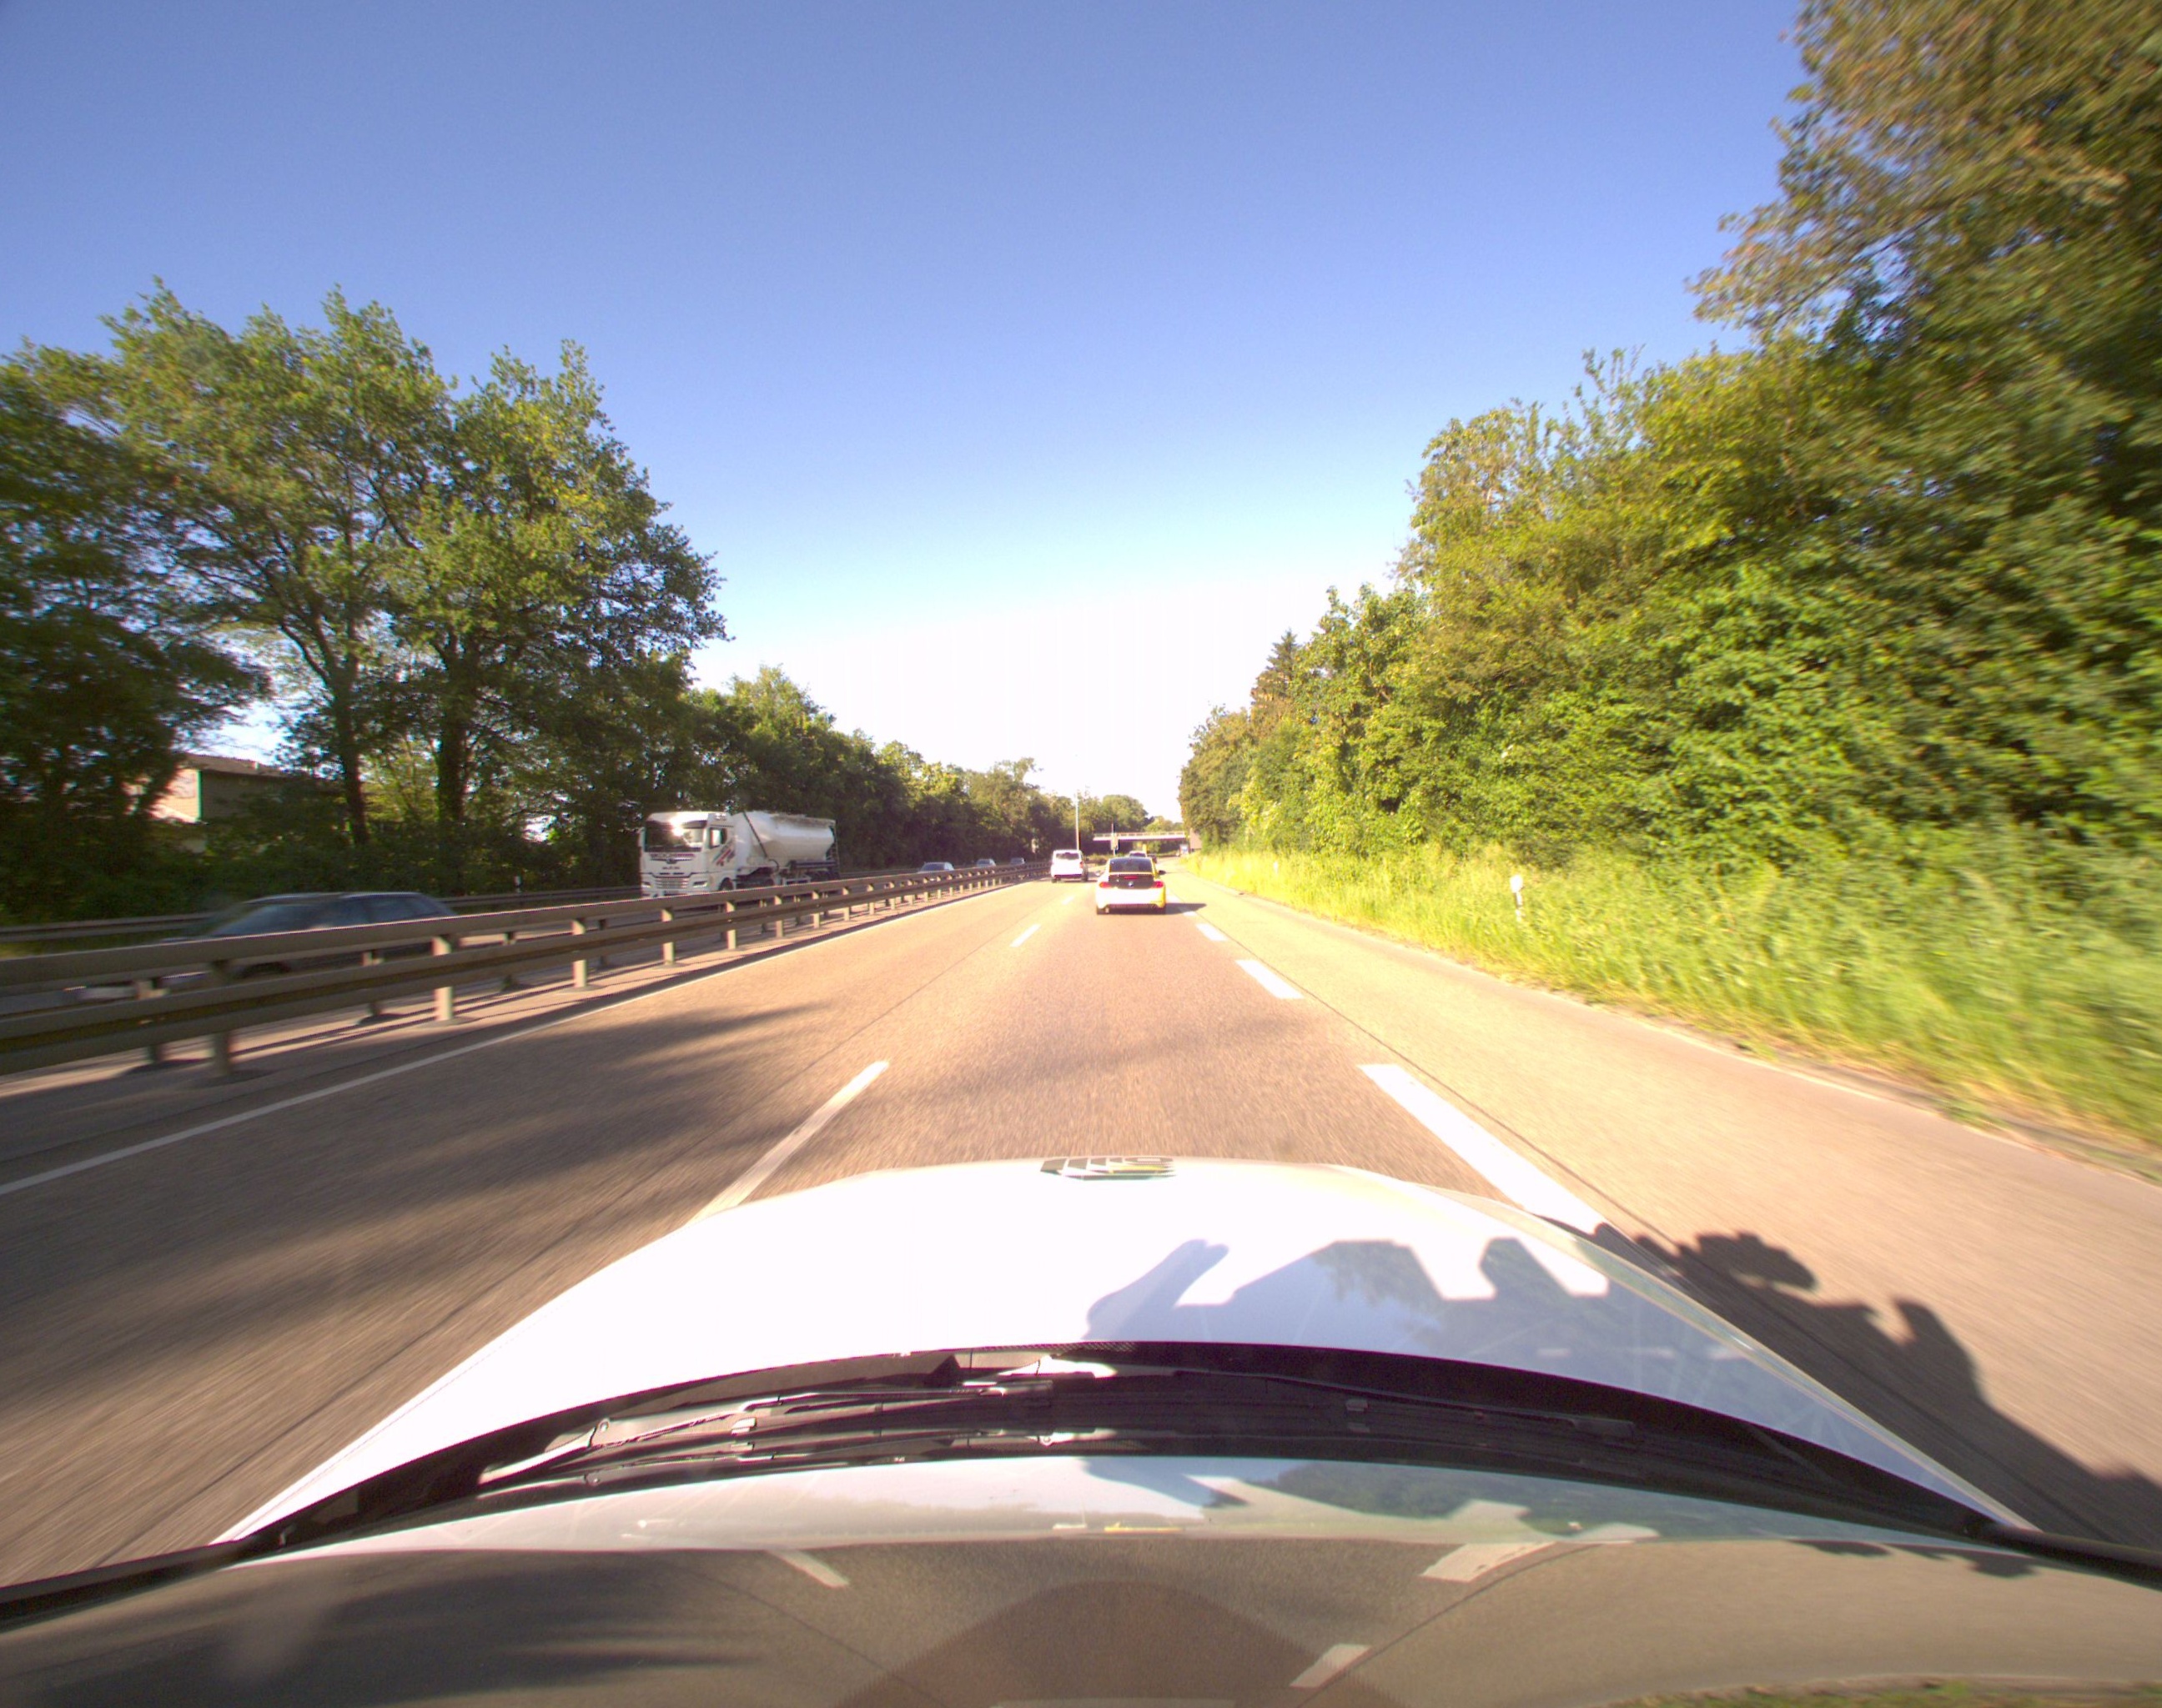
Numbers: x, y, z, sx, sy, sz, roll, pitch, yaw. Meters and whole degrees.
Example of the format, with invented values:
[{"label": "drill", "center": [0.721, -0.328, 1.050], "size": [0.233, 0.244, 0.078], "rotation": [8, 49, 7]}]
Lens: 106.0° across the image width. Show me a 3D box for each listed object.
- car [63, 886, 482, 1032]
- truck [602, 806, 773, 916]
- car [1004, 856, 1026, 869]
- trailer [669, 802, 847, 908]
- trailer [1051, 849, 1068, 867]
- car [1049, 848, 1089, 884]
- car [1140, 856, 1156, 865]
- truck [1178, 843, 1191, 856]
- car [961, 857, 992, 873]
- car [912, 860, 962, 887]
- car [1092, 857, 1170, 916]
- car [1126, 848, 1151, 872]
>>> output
[{"label": "car", "center": [-10.763, 1.283, 11.369], "size": [1.660, 1.467, 4.093], "rotation": [-2, 0, 1]}, {"label": "truck", "center": [-14.388, 0.240, 30.440], "size": [2.968, 3.630, 6.162], "rotation": [-2, 0, 4]}, {"label": "car", "center": [-8.307, 1.095, 103.492], "size": [2.062, 1.614, 5.063], "rotation": [-1, 0, 3]}, {"label": "trailer", "center": [-13.997, 0.028, 36.805], "size": [3.040, 3.997, 10.982], "rotation": [-2, 0, 3]}, {"label": "trailer", "center": [-2.935, 0.545, 113.193], "size": [1.986, 2.437, 4.609], "rotation": [-2, 0, 2]}, {"label": "car", "center": [-0.623, 0.635, 45.556], "size": [2.079, 1.828, 3.999], "rotation": [-2, 0, 0]}, {"label": "car", "center": [10.581, 0.966, 128.490], "size": [1.981, 1.398, 4.012], "rotation": [-1, 0, 10]}, {"label": "truck", "center": [33.146, -1.389, 259.619], "size": [3.474, 4.173, 8.888], "rotation": [-2, 0, 11]}, {"label": "car", "center": [-10.346, 1.067, 80.982], "size": [2.062, 1.467, 4.990], "rotation": [-1, 0, 3]}, {"label": "car", "center": [-8.679, 1.134, 49.550], "size": [1.790, 1.467, 4.703], "rotation": [-2, 0, 5]}, {"label": "car", "center": [1.263, 0.804, 22.185], "size": [1.873, 1.461, 4.355], "rotation": [0, 0, 0]}, {"label": "car", "center": [4.526, 0.445, 64.001], "size": [1.855, 1.770, 4.475], "rotation": [-2, 0, 4]}]
